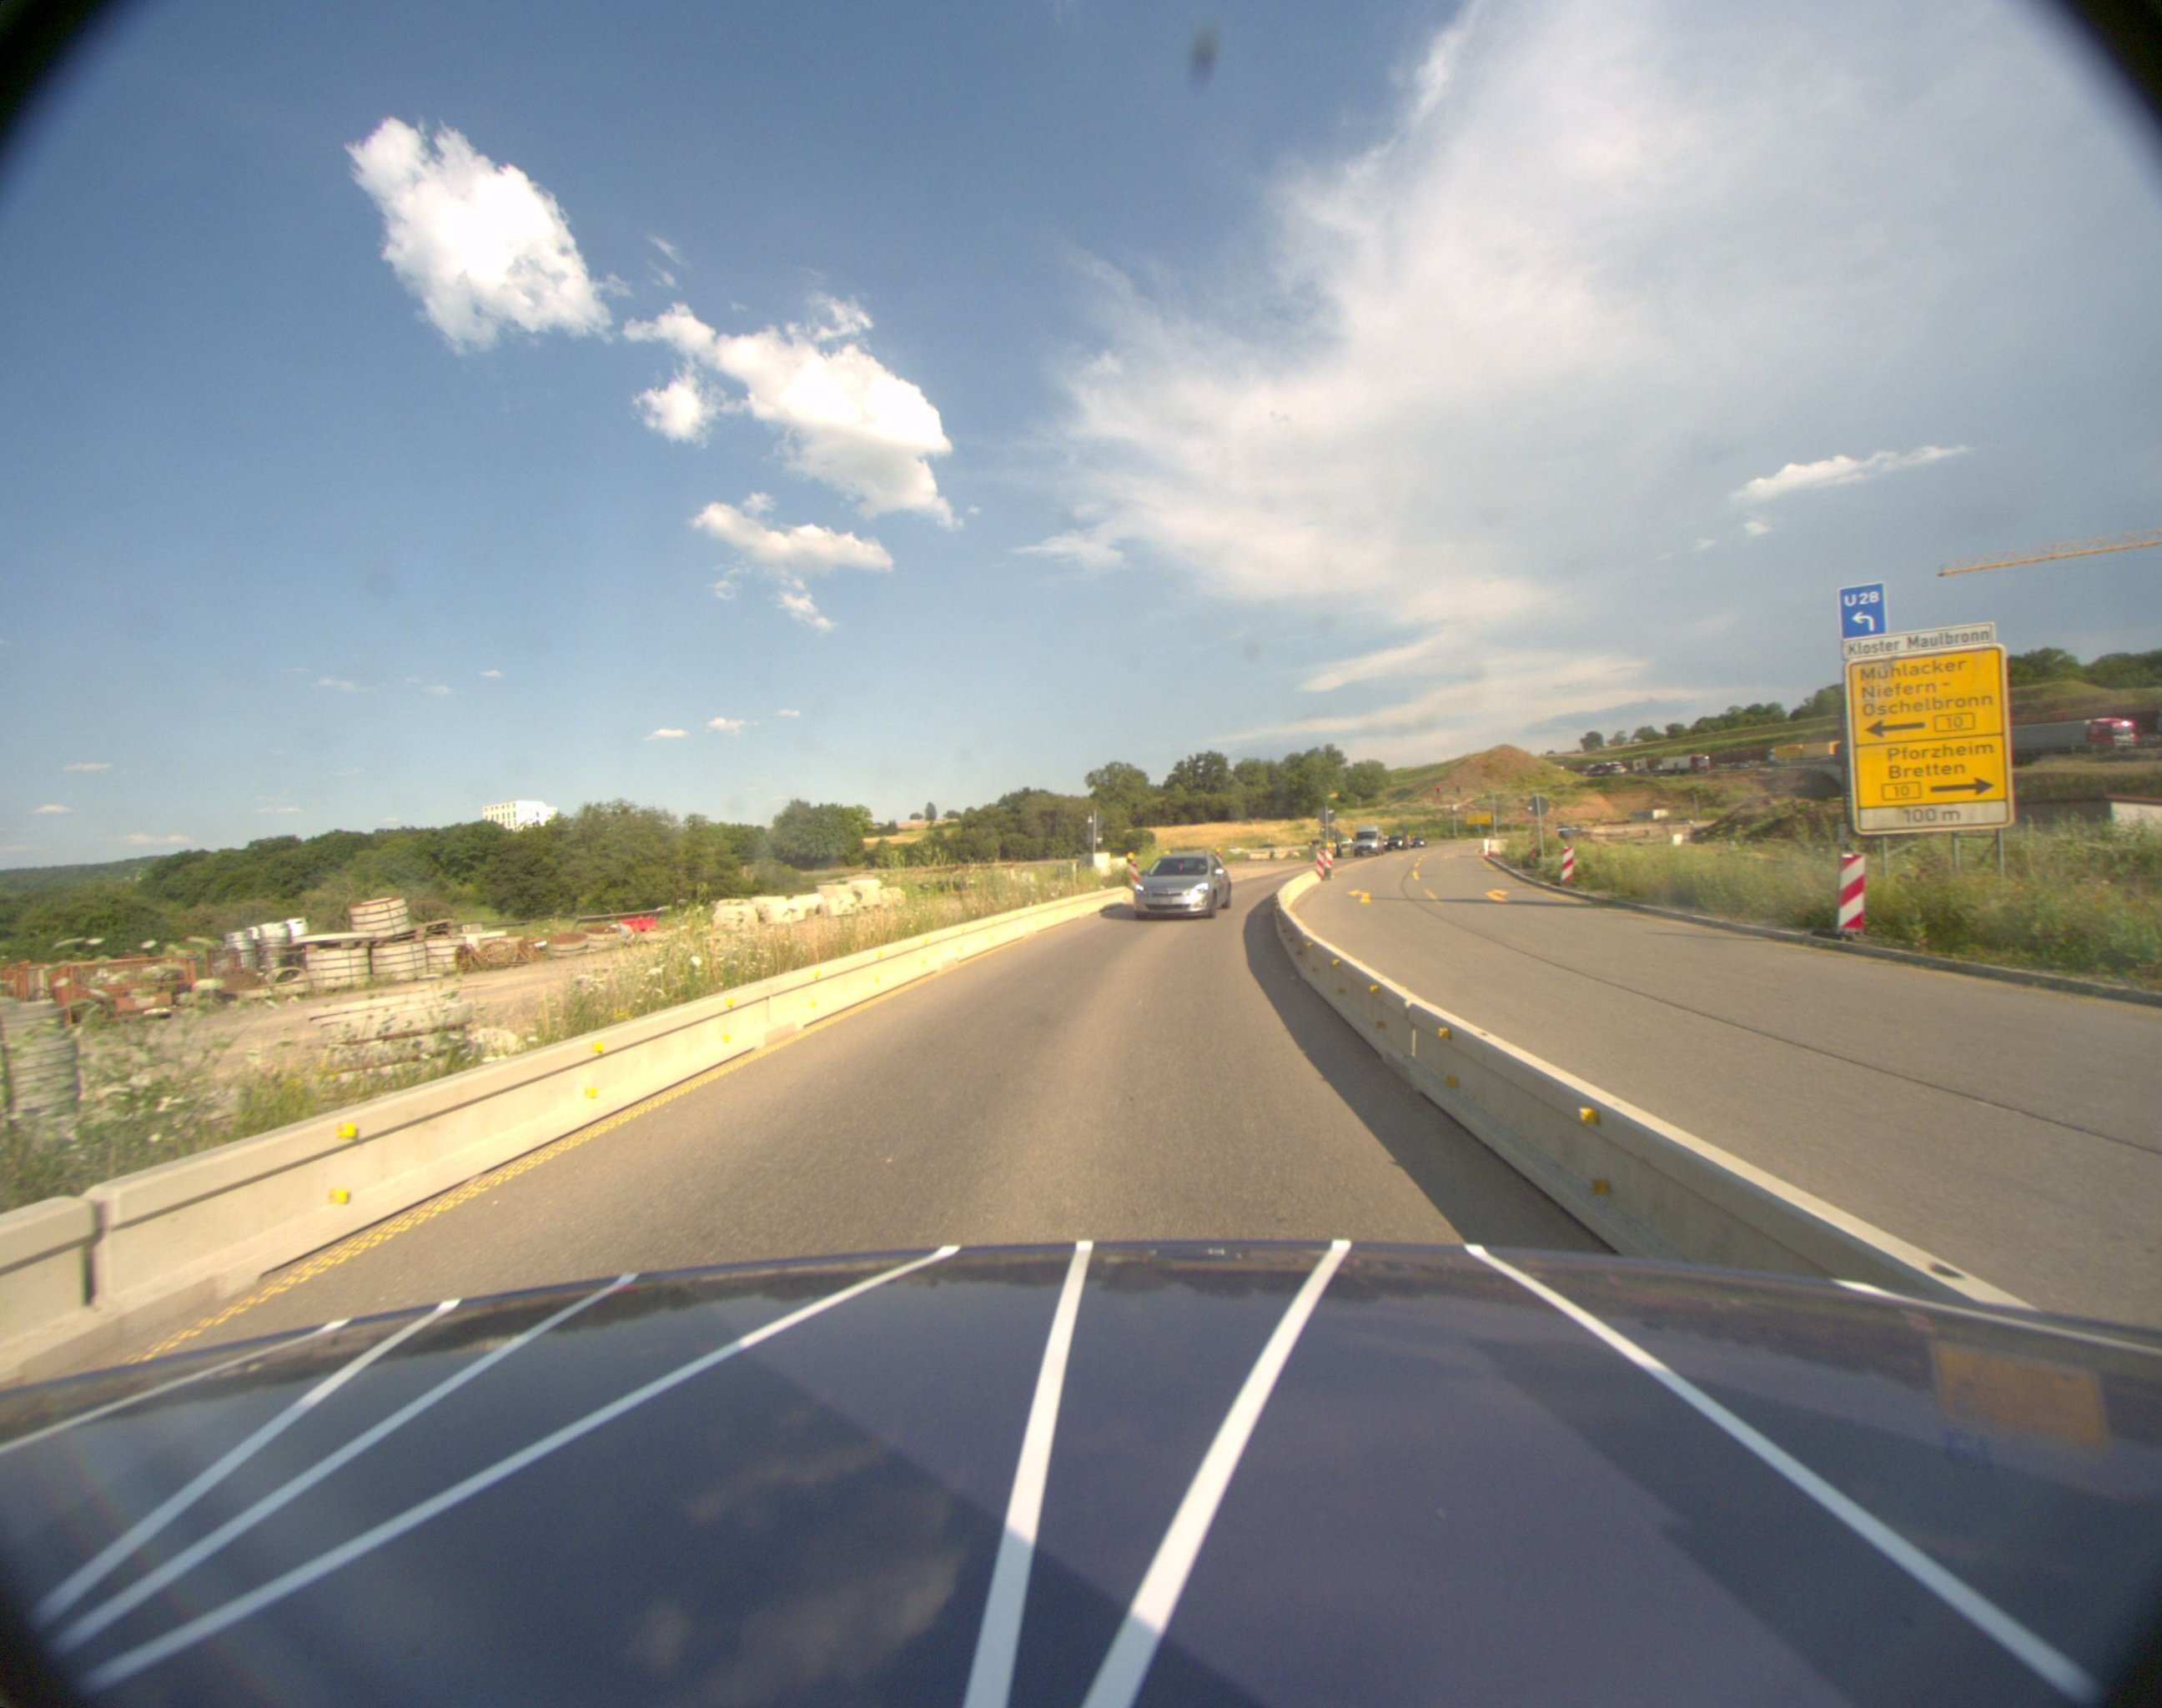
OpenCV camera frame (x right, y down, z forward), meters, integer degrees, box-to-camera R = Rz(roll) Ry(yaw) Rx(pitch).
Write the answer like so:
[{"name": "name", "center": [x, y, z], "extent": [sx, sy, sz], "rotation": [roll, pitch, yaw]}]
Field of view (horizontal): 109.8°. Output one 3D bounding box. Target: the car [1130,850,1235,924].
[{"name": "car", "center": [2.537, 0.700, 18.059], "extent": [1.745, 1.476, 4.257], "rotation": [-3, 0, 17]}]

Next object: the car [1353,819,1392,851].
[{"name": "car", "center": [24.709, -1.606, 64.233], "extent": [1.912, 2.486, 5.808], "rotation": [-2, 1, 32]}]

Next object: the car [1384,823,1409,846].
[{"name": "car", "center": [34.469, -2.128, 82.963], "extent": [1.872, 2.389, 4.007], "rotation": [-2, 1, 32]}]

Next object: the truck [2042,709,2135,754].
[{"name": "truck", "center": [122.224, -14.749, 92.310], "extent": [3.108, 4.289, 6.902], "rotation": [-2, 1, 14]}]

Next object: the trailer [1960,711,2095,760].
[{"name": "trailer", "center": [124.084, -15.383, 100.109], "extent": [3.108, 4.289, 14.264], "rotation": [-2, 1, 14]}]

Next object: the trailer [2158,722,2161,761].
[{"name": "trailer", "center": [117.862, -12.203, 75.941], "extent": [3.108, 4.289, 14.264], "rotation": [-2, 1, 14]}]
